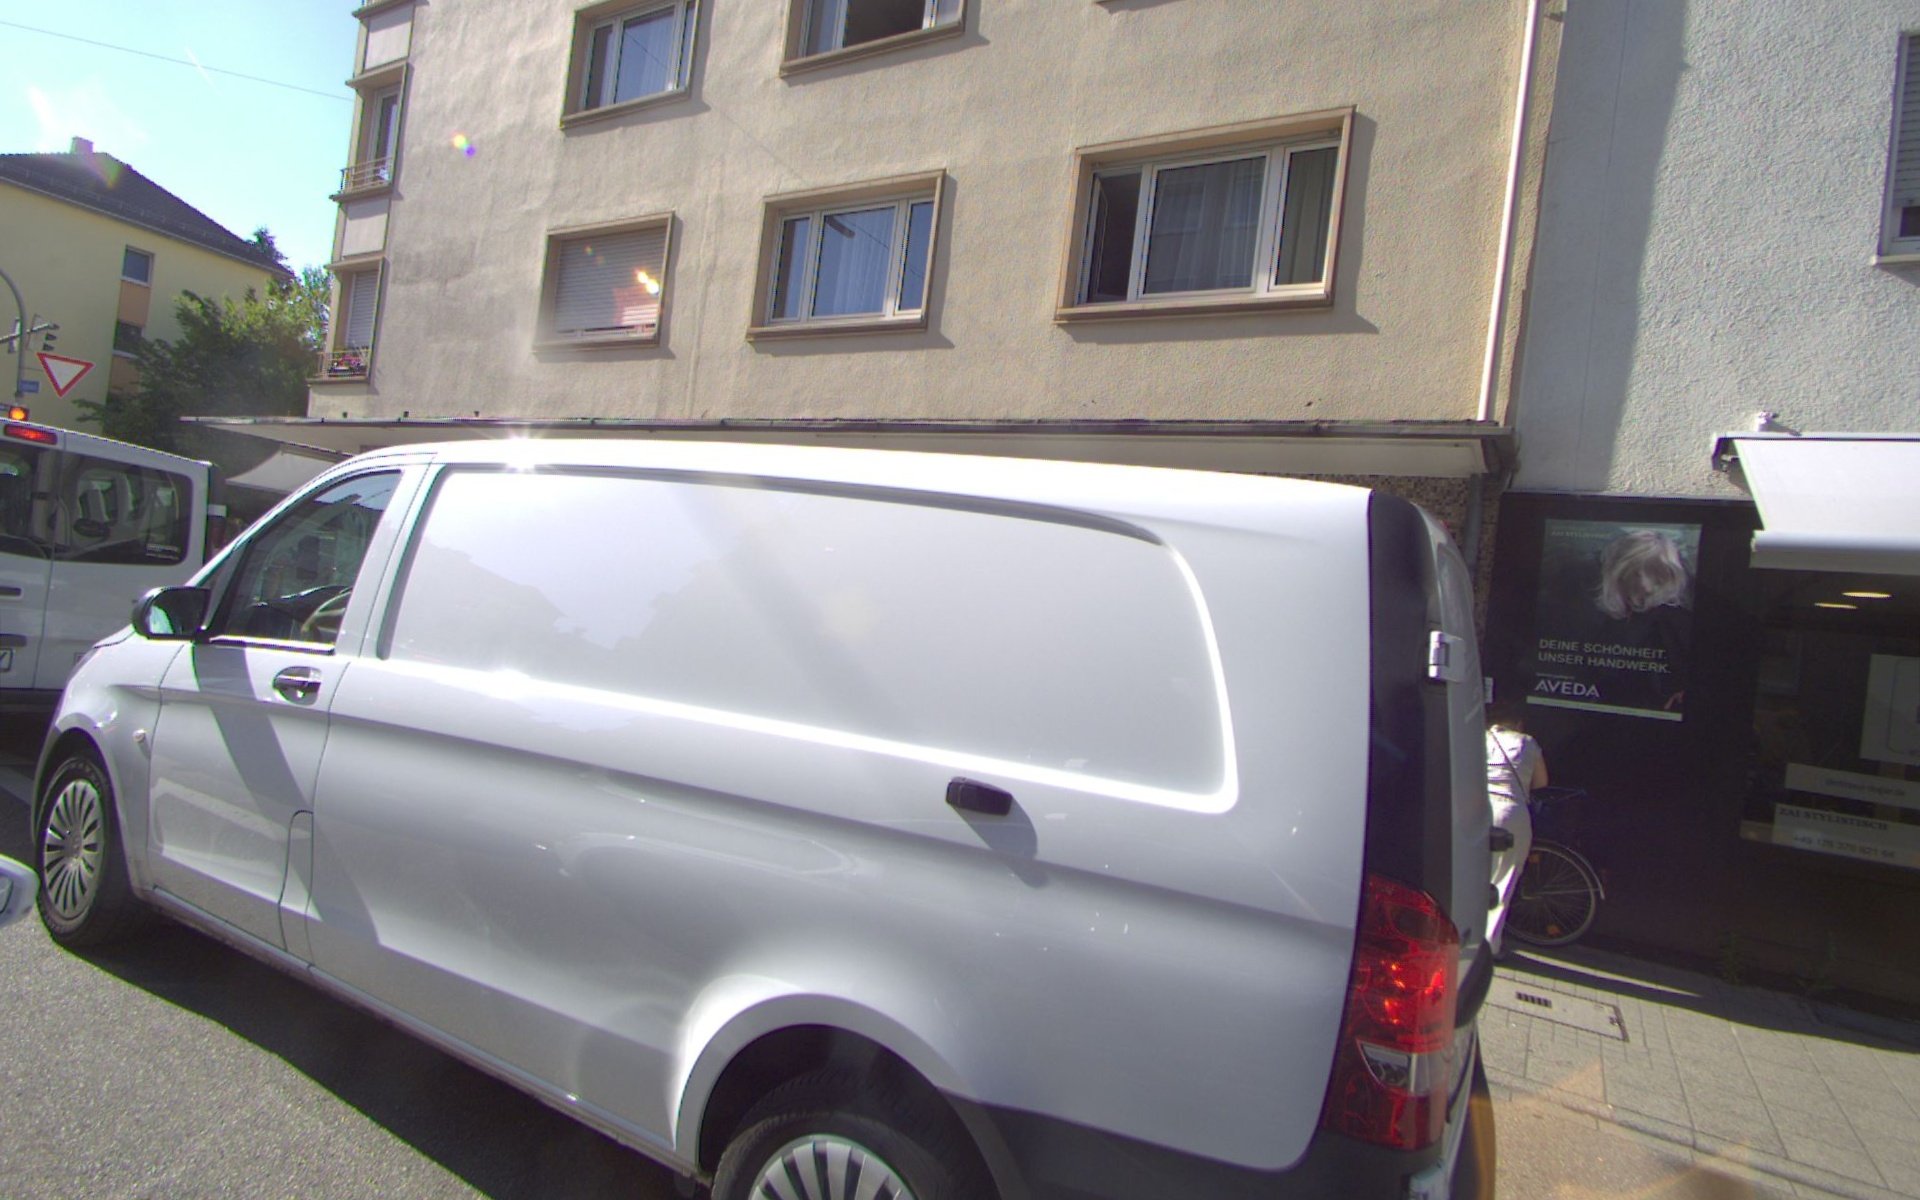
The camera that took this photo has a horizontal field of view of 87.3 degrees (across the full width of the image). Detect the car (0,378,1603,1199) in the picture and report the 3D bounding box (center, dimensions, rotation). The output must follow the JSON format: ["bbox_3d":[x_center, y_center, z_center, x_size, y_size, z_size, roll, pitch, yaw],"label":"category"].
[{"bbox_3d":[-0.972,0.488,3.300,4.911,1.891,1.840,7,-1,30],"label":"car"}]

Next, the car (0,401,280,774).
[{"bbox_3d":[-7.075,-0.259,6.914,4.814,2.001,1.998,7,-3,32],"label":"car"}]
